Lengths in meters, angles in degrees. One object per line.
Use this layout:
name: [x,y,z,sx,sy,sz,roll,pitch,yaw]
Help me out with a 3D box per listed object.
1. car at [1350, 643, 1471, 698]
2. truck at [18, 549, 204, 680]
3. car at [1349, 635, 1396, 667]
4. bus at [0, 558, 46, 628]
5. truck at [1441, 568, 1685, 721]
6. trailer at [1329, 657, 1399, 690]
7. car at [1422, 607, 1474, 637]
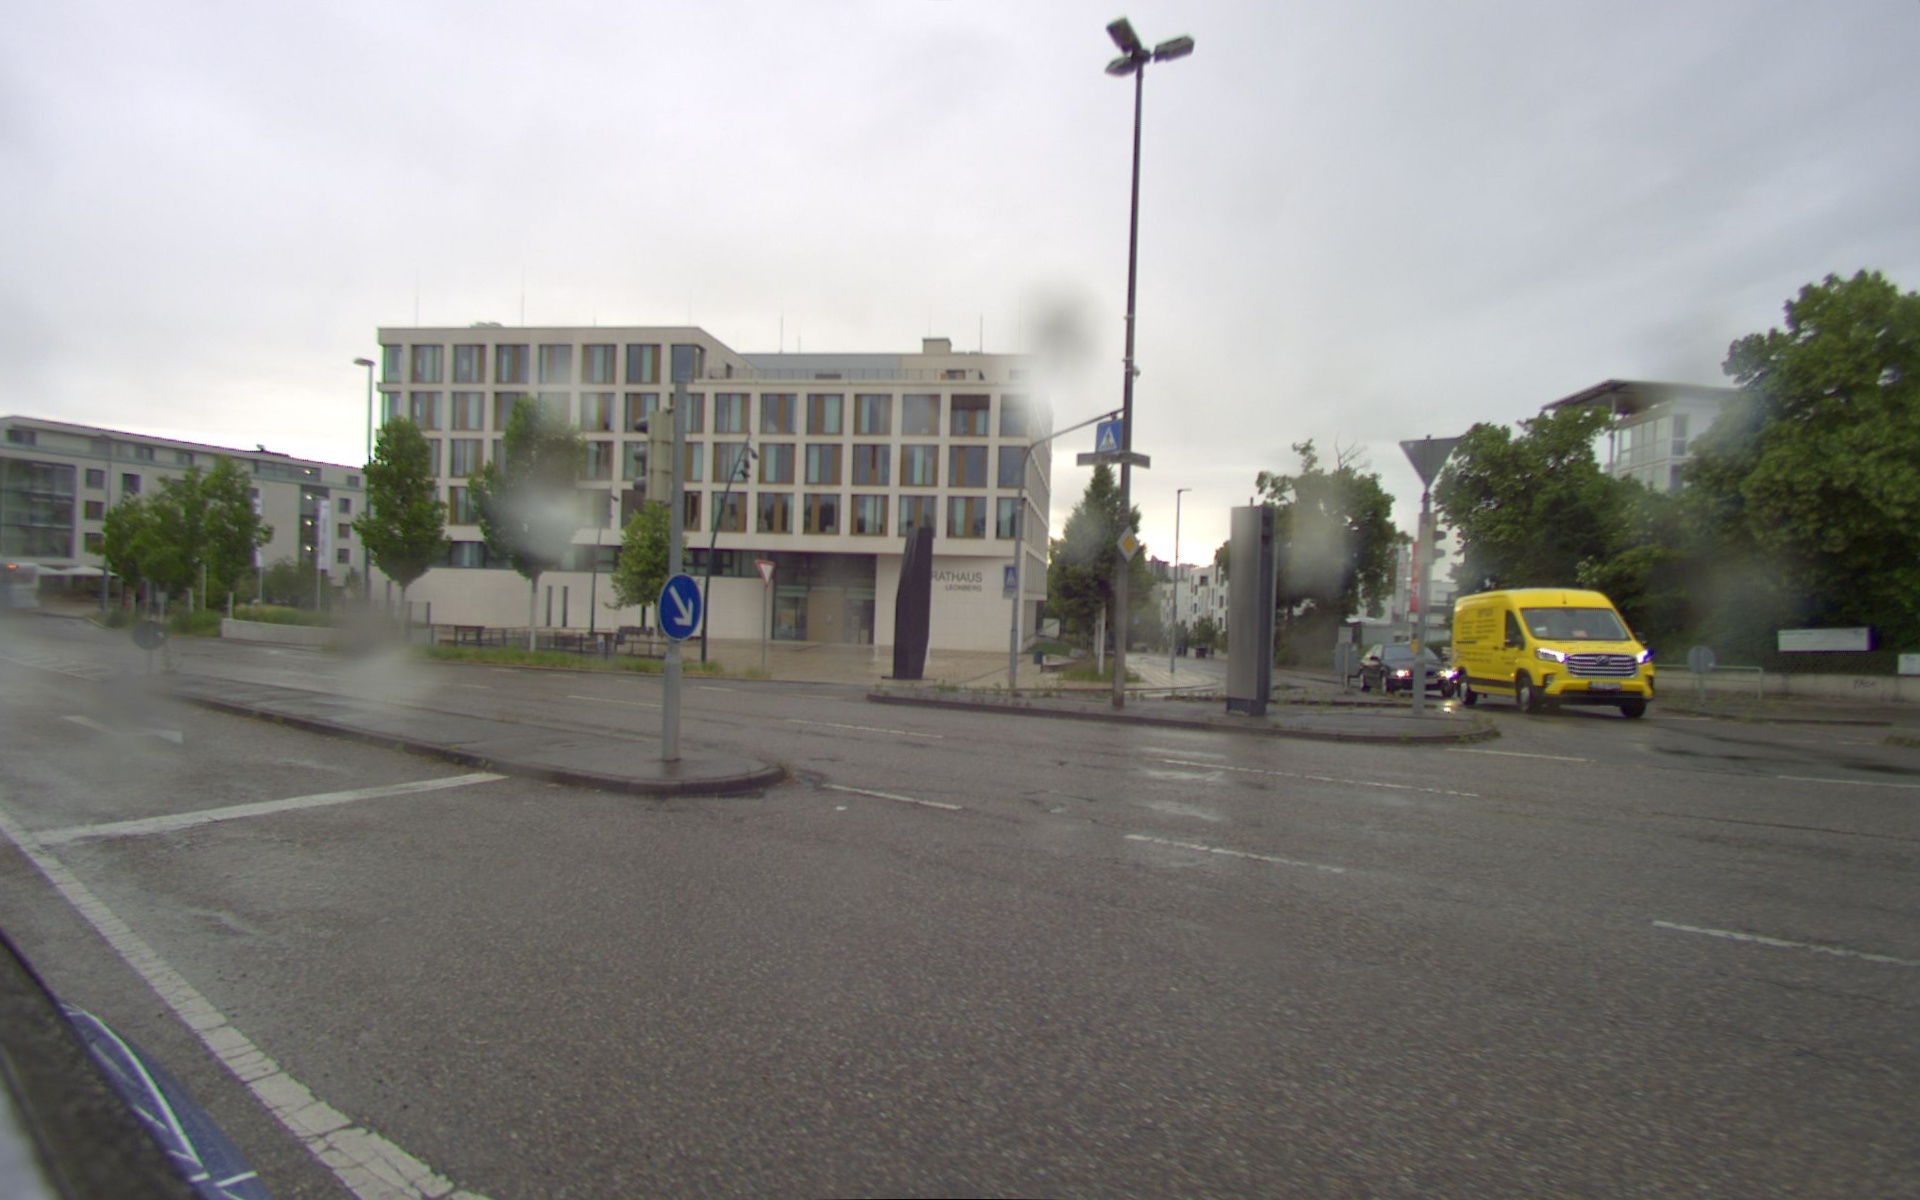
car: [12.281,1.880,27.873,1.843,1.328,4.345,1,-2,7]
truck: [-18.452,0.303,21.862,6.197,2.458,2.141,0,-1,41]
car: [29.935,3.674,73.508,1.766,2.029,3.999,0,0,0]
bus: [-62.724,-0.388,64.235,18.188,4.025,2.918,0,-2,35]
truck: [11.789,0.886,20.439,2.204,2.557,6.154,1,-2,11]
trailer: [13.254,2.390,33.293,1.589,0.986,2.281,1,-2,8]
car: [34.338,1.510,71.325,1.766,2.029,3.999,0,0,0]
